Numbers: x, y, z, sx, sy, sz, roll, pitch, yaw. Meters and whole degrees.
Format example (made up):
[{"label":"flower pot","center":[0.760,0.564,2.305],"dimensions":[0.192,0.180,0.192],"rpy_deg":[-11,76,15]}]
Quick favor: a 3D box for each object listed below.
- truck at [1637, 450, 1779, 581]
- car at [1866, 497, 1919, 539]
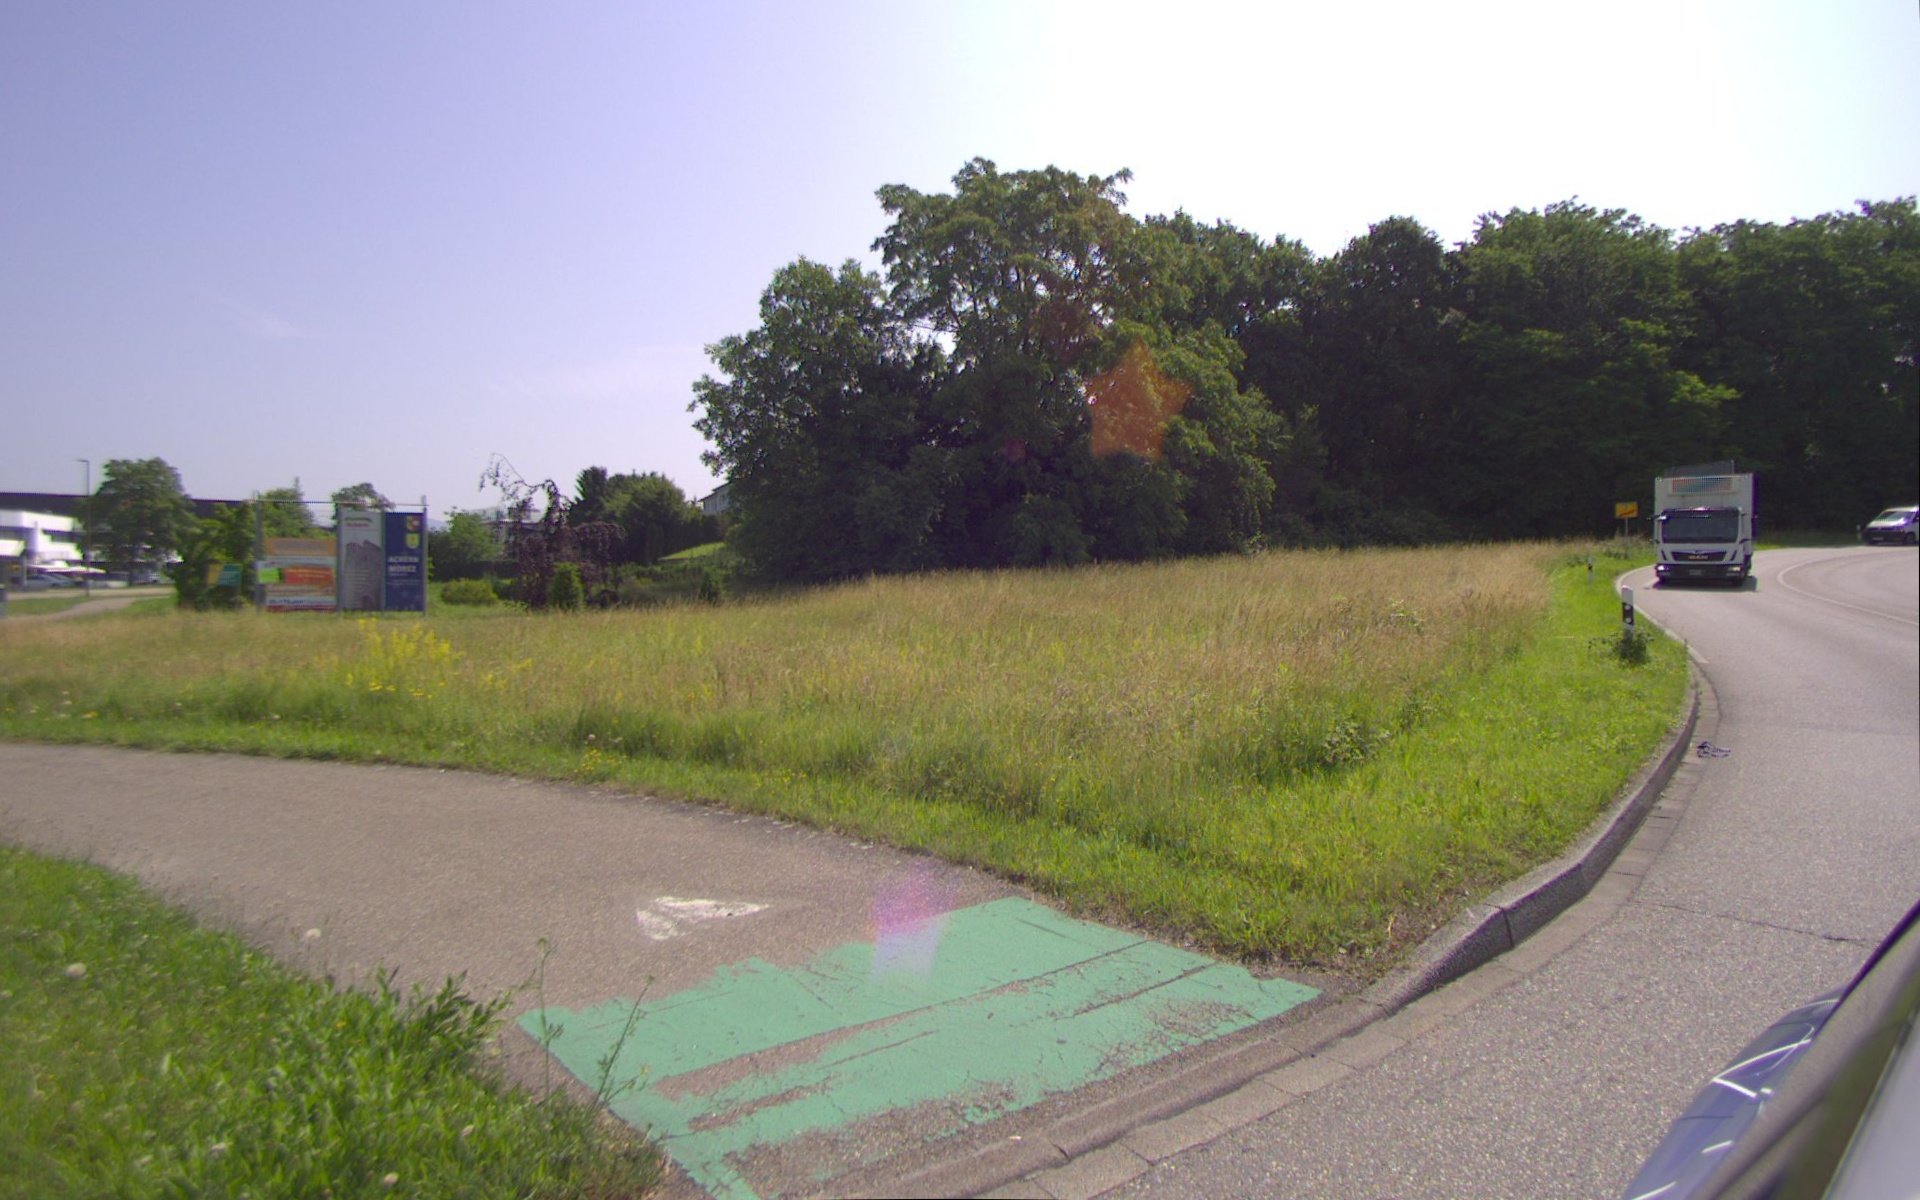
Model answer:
[{"label":"truck","center":[25.556,-2.719,35.024],"dimensions":[2.875,3.876,8.930],"rpy_deg":[-1,1,30]},{"label":"car","center":[50.348,-4.283,52.620],"dimensions":[5.486,2.038,2.004],"rpy_deg":[-2,1,-14]}]
